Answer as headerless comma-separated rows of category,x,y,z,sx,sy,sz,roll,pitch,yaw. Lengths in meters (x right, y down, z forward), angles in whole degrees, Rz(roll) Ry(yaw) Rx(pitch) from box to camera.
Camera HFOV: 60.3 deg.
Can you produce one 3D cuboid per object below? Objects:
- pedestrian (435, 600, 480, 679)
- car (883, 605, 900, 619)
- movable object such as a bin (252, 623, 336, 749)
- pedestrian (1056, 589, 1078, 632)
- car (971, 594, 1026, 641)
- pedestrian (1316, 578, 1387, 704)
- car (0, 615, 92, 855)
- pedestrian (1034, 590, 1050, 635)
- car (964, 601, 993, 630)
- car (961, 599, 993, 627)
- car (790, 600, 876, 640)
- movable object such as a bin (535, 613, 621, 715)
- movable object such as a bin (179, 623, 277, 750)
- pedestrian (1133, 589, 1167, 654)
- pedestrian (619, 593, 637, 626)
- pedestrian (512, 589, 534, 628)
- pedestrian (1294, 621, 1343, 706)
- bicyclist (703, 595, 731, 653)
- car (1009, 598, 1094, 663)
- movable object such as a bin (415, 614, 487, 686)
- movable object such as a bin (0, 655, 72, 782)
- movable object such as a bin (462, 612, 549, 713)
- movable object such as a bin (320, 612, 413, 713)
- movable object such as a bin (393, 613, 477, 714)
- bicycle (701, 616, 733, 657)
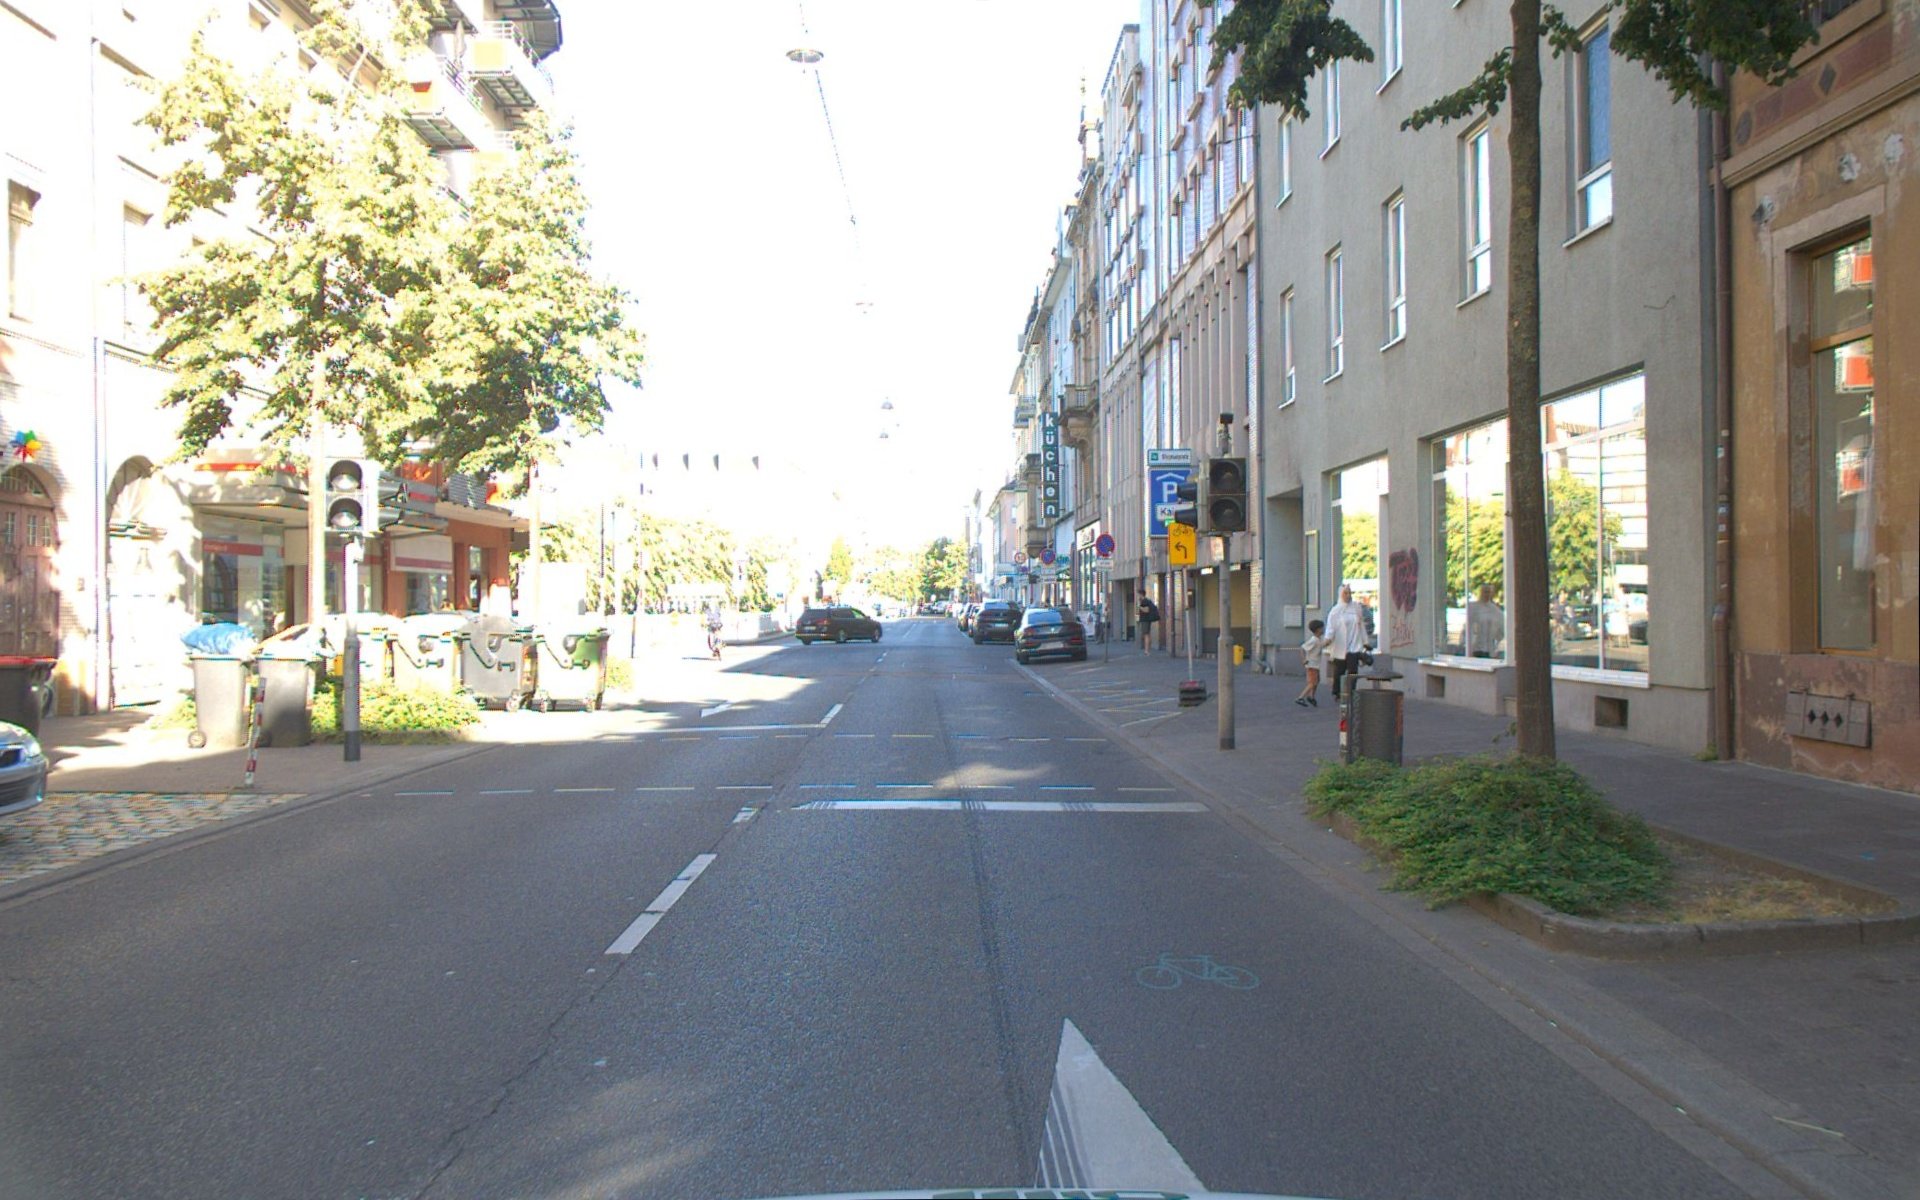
pedestrian,-10.889,0.846,35.877,0.651,1.688,1.036,-1,0,-2
car,-8.897,1.558,215.712,1.952,1.803,4.000,0,1,0
movable object such as a bin,-7.521,0.960,18.703,0.621,1.364,0.805,-1,0,-2
pedestrian,4.349,0.424,67.331,0.784,1.704,0.589,-3,0,1
car,1.468,0.640,64.457,1.933,1.755,4.823,1,0,-1
pedestrian,5.193,0.533,21.968,0.569,1.586,1.020,-4,0,-2
car,-8.092,0.860,10.617,4.116,1.494,1.740,0,0,1
pedestrian,3.351,0.502,67.391,0.607,1.797,0.518,-1,0,1
car,1.034,0.881,94.139,1.580,1.573,2.855,1,0,0
car,1.007,0.795,100.373,1.682,1.664,4.082,1,-1,-3
car,-4.968,0.757,65.339,1.894,1.513,4.273,0,0,18
movable object such as a bin,-5.896,0.969,25.618,1.021,1.497,1.452,-1,0,-2
movable object such as a bin,-8.232,0.958,18.623,0.739,1.364,0.805,-1,0,-2
pedestrian,5.021,0.552,43.763,0.678,1.664,0.889,-3,0,-2
pedestrian,-21.805,0.630,108.595,0.717,2.145,0.967,-1,0,21
pedestrian,-24.186,0.486,91.586,0.717,2.145,0.967,-1,0,21
pedestrian,4.635,0.809,21.394,0.385,1.051,0.739,-4,0,-2
bicyclist,-7.237,0.710,49.277,0.682,1.682,1.035,-1,0,-2
car,2.426,0.775,44.948,1.879,1.504,4.963,-5,0,-1
movable object such as a bin,-10.032,0.972,32.626,1.021,1.369,1.313,-1,0,-2
movable object such as a bin,-8.538,1.064,15.019,0.520,1.088,0.805,-1,0,-2
movable object such as a bin,-7.009,0.953,25.561,1.021,1.497,1.143,-1,0,-2
movable object such as a bin,-9.101,0.940,25.415,1.021,1.497,1.143,-1,0,-2
movable object such as a bin,-8.070,0.959,25.467,0.944,1.497,1.143,-1,0,-2
bicycle,-7.231,1.087,49.342,0.691,1.166,1.967,-1,0,-2
